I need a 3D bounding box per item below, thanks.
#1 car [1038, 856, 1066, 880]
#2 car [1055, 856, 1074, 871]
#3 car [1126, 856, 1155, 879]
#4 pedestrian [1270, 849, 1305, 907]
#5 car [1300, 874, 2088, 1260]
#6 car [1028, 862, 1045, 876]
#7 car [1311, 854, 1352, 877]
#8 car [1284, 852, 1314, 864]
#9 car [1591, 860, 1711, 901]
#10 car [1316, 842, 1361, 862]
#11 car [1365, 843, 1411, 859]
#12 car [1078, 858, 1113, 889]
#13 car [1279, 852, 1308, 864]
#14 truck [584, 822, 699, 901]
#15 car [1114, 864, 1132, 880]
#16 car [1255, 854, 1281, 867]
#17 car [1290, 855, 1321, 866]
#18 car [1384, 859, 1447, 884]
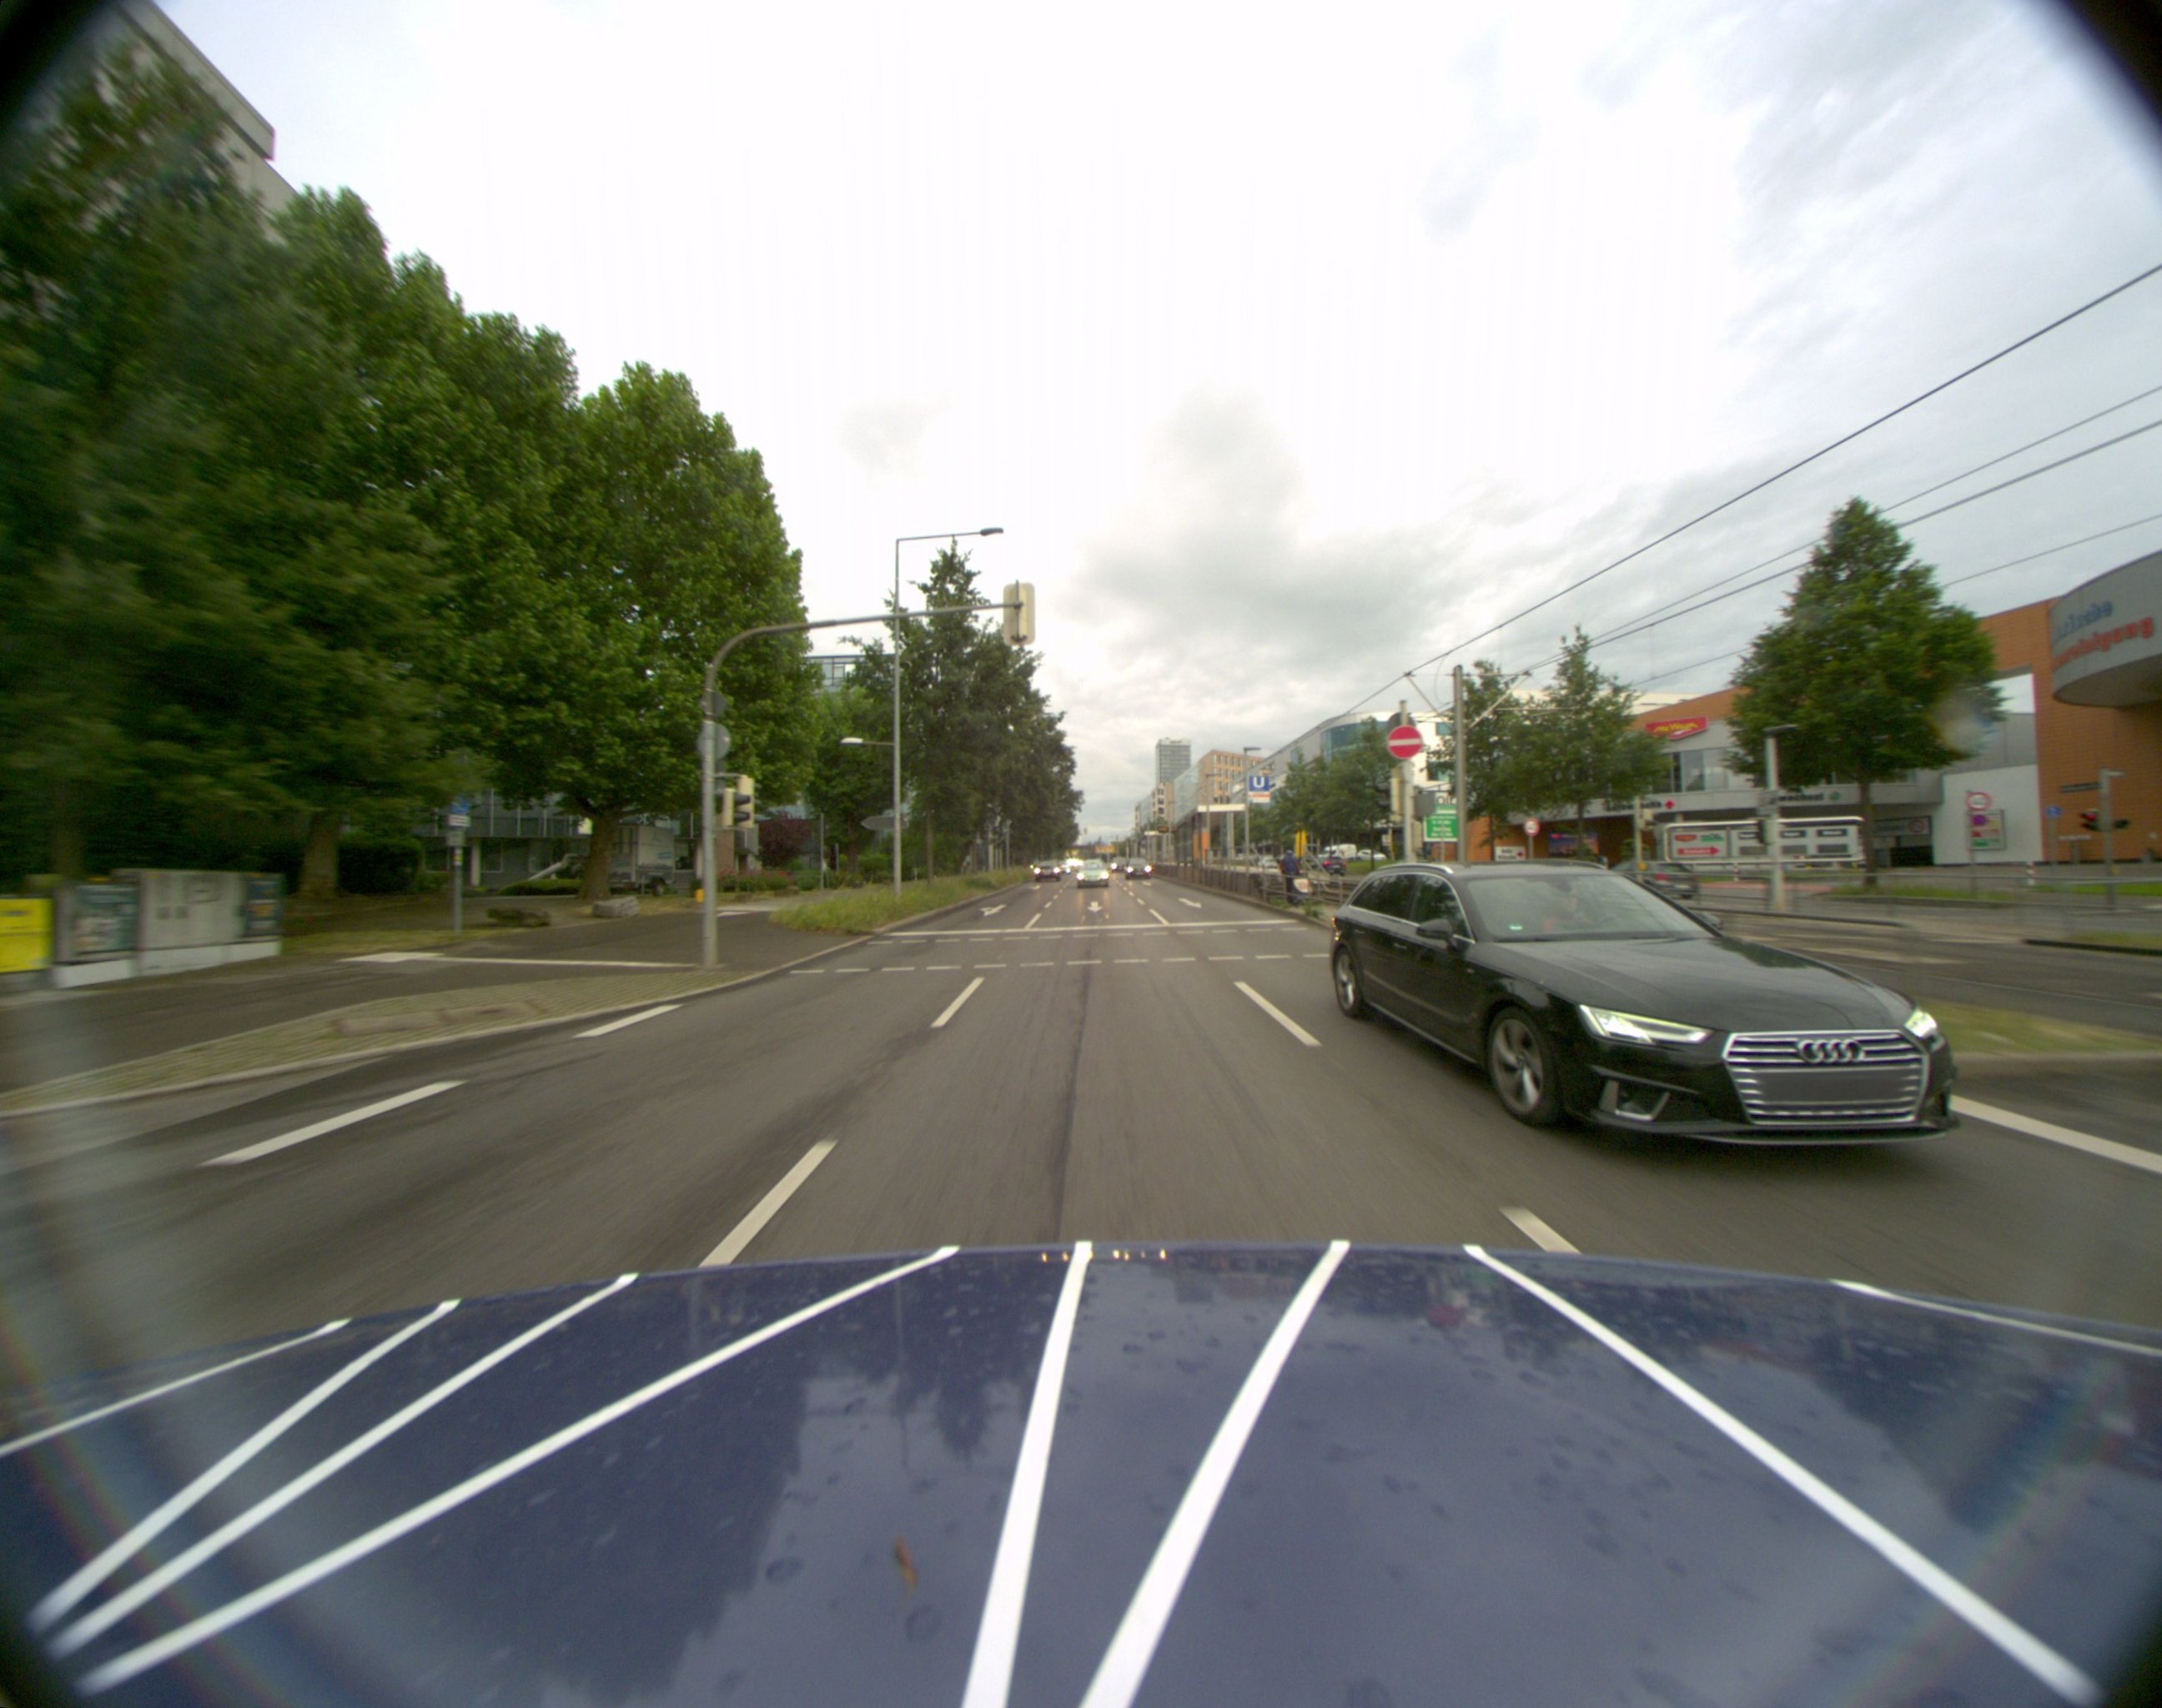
[{"bbox_3d":[-2.134,1.000,56.829,1.816,1.660,4.549,-2,0,1],"label":"car"},{"bbox_3d":[-1.771,0.978,82.291,1.873,1.533,4.107,-2,0,1],"label":"car"},{"bbox_3d":[4.231,0.942,54.522,1.798,1.492,4.001,-2,0,2],"label":"car"},{"bbox_3d":[6.018,0.706,22.151,0.704,1.641,0.648,-2,0,-27],"label":"pedestrian"},{"bbox_3d":[3.159,0.923,5.472,1.794,1.425,4.829,-2,-1,1],"label":"car"},{"bbox_3d":[-5.538,1.811,94.435,1.816,1.660,4.370,-2,0,0],"label":"car"},{"bbox_3d":[20.488,0.909,62.339,1.998,1.764,4.389,-1,0,1],"label":"car"},{"bbox_3d":[34.603,0.711,120.511,3.999,1.652,1.921,-3,0,-6],"label":"car"},{"bbox_3d":[21.562,0.962,28.948,1.732,1.415,3.779,-1,0,1],"label":"car"},{"bbox_3d":[35.759,-0.295,105.523,5.487,2.613,2.276,-3,0,-16],"label":"car"},{"bbox_3d":[42.569,-0.388,105.527,5.483,1.915,2.278,-2,0,-5],"label":"car"},{"bbox_3d":[0.797,1.036,41.675,1.803,1.533,4.375,-2,0,1],"label":"car"},{"bbox_3d":[34.441,0.710,123.182,3.999,1.652,1.921,-4,0,-6],"label":"car"},{"bbox_3d":[-15.480,0.245,27.023,1.751,2.503,3.999,-3,0,-2],"label":"truck"},{"bbox_3d":[4.588,1.961,83.314,1.781,1.670,4.131,-2,0,1],"label":"car"},{"bbox_3d":[23.777,0.809,96.913,1.999,1.509,4.706,-2,0,-1],"label":"car"},{"bbox_3d":[34.152,0.934,115.625,3.999,1.499,1.896,-3,0,-7],"label":"car"},{"bbox_3d":[20.738,1.060,47.301,1.858,1.419,4.388,1,0,-1],"label":"car"}]
